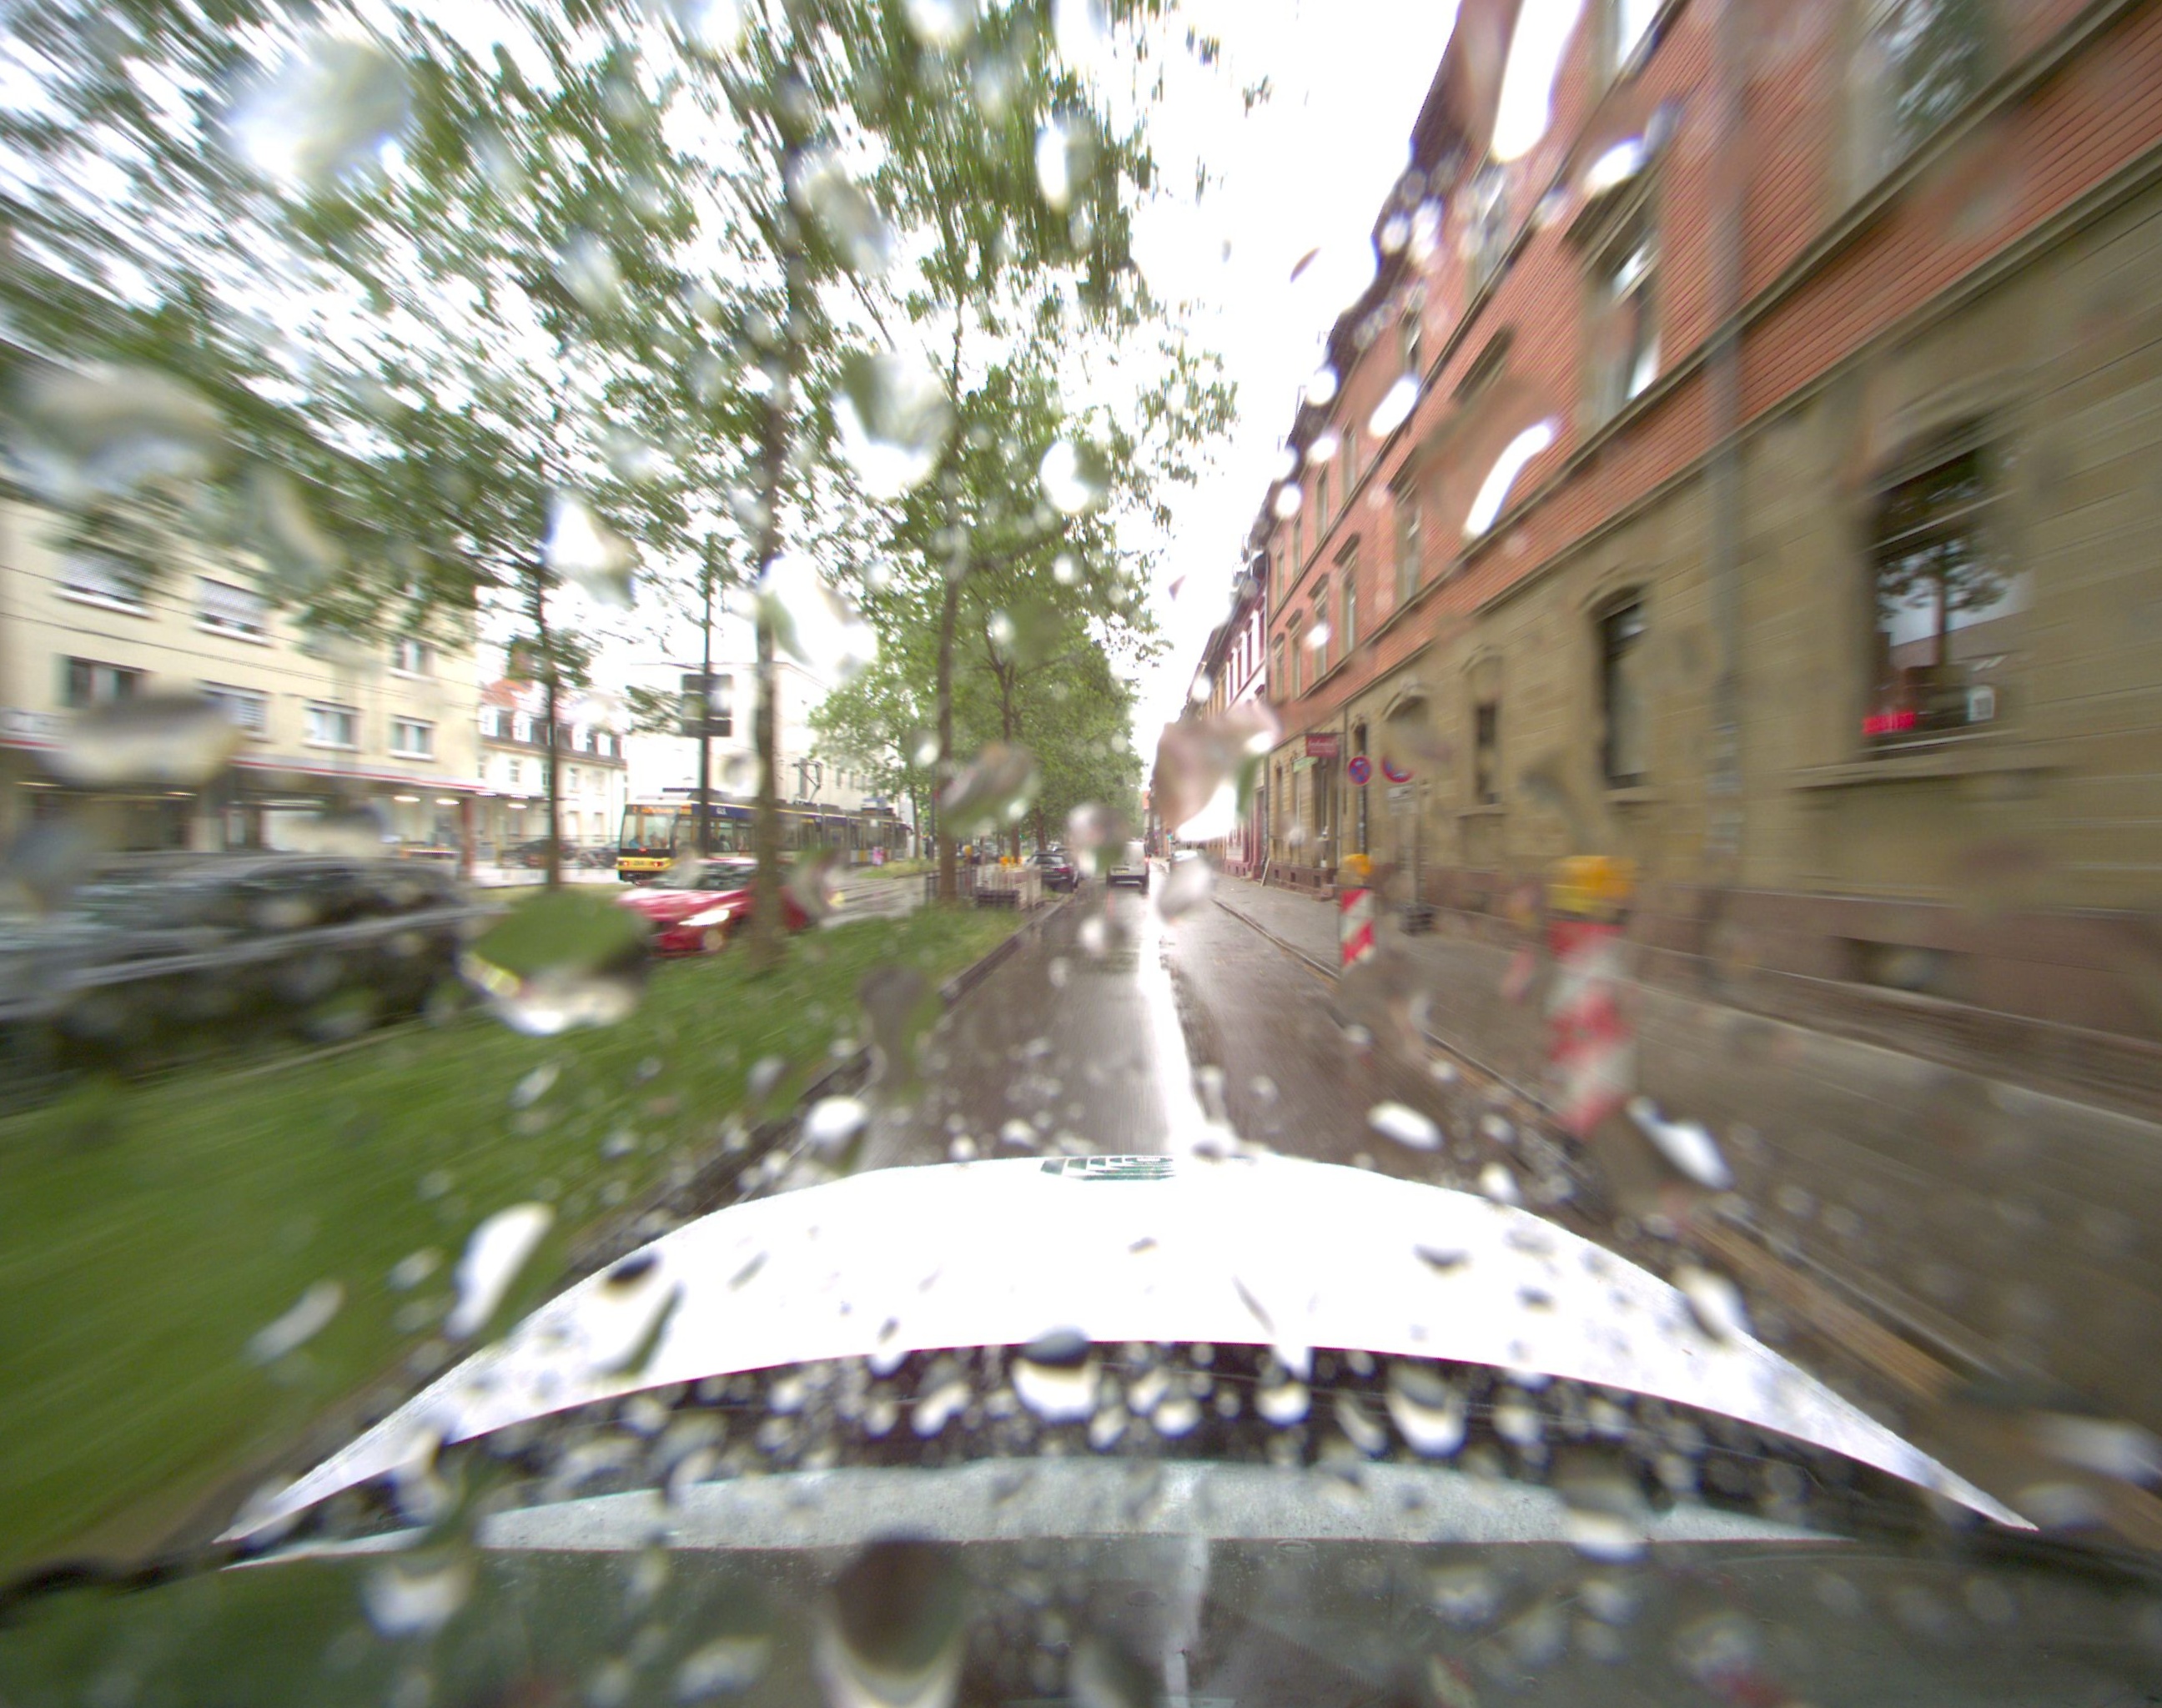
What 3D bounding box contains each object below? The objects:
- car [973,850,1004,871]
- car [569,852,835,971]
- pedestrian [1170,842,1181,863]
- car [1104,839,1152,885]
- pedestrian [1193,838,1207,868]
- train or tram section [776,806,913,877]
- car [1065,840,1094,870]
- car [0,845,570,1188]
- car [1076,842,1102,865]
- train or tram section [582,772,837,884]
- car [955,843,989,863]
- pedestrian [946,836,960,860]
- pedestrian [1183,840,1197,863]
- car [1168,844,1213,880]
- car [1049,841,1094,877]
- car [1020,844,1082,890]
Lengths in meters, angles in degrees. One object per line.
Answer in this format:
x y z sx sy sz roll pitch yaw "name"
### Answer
-7.564 0.499 66.928 1.986 1.612 4.003 1 1 2 "car"
-5.272 0.693 12.049 1.734 1.397 4.237 1 1 3 "car"
7.807 -0.151 67.333 0.836 1.716 1.109 -3 0 3 "pedestrian"
1.980 0.325 34.089 1.895 1.797 4.117 0 -1 4 "car"
6.969 -0.054 47.749 0.636 1.684 0.604 -3 0 2 "pedestrian"
-13.257 -0.523 47.747 3.093 3.558 14.683 0 -1 3 "train or tram section"
-0.064 0.044 48.565 1.618 1.681 3.660 1 1 0 "car"
-5.483 0.693 4.953 1.734 1.480 4.436 1 1 4 "car"
0.623 -0.052 57.839 1.642 1.500 4.122 2 0 3 "car"
-13.964 -0.722 33.144 3.093 3.558 14.586 0 -1 3 "train or tram section"
-7.849 -0.083 58.830 1.732 1.343 3.758 3 1 2 "car"
-9.346 -0.442 59.426 0.814 1.703 0.872 1 1 2 "pedestrian"
7.487 -0.177 56.094 0.836 1.511 1.109 -3 0 3 "pedestrian"
4.822 0.316 36.427 1.804 1.420 4.705 -3 0 6 "car"
-0.397 0.202 38.637 1.690 1.635 4.361 0 0 5 "car"
-1.002 0.414 29.646 1.821 1.503 4.616 1 0 2 "car"
